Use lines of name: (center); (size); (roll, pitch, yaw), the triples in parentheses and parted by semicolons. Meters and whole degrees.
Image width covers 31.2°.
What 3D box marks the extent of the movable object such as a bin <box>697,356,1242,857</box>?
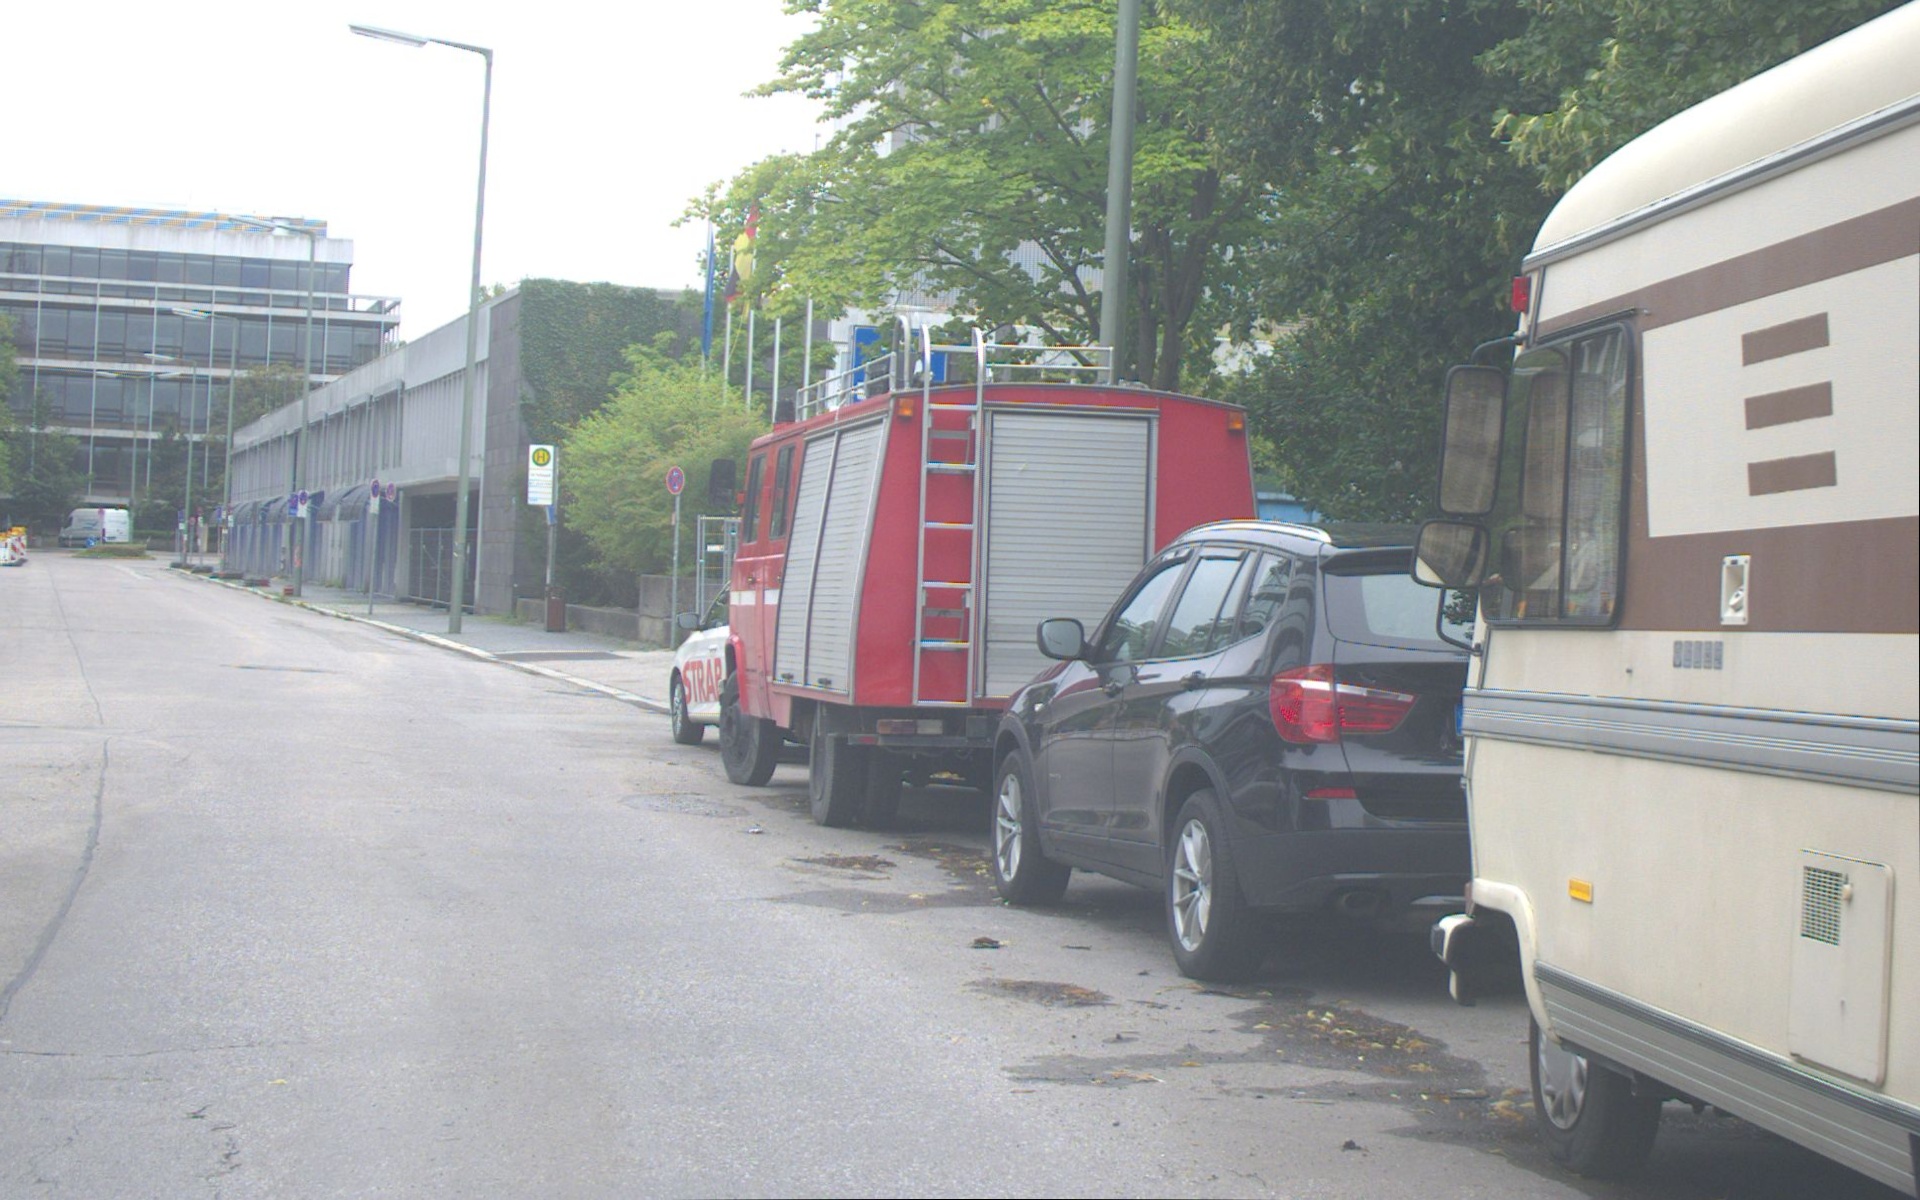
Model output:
movable object such as a bin: (-0.171, -0.031, 20.458); (2.103, 2.450, 6.189); (2, 1, -10)

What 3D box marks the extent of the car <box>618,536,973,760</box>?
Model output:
car: (-1.409, 0.329, 27.474); (1.775, 1.544, 4.259); (2, 1, -17)

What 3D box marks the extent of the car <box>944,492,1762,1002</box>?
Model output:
car: (1.319, 0.442, 13.604); (1.775, 1.644, 4.462); (2, 1, -13)

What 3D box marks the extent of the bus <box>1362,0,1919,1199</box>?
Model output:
bus: (2.565, 0.090, 6.477); (2.314, 2.689, 5.736); (3, 1, -6)
